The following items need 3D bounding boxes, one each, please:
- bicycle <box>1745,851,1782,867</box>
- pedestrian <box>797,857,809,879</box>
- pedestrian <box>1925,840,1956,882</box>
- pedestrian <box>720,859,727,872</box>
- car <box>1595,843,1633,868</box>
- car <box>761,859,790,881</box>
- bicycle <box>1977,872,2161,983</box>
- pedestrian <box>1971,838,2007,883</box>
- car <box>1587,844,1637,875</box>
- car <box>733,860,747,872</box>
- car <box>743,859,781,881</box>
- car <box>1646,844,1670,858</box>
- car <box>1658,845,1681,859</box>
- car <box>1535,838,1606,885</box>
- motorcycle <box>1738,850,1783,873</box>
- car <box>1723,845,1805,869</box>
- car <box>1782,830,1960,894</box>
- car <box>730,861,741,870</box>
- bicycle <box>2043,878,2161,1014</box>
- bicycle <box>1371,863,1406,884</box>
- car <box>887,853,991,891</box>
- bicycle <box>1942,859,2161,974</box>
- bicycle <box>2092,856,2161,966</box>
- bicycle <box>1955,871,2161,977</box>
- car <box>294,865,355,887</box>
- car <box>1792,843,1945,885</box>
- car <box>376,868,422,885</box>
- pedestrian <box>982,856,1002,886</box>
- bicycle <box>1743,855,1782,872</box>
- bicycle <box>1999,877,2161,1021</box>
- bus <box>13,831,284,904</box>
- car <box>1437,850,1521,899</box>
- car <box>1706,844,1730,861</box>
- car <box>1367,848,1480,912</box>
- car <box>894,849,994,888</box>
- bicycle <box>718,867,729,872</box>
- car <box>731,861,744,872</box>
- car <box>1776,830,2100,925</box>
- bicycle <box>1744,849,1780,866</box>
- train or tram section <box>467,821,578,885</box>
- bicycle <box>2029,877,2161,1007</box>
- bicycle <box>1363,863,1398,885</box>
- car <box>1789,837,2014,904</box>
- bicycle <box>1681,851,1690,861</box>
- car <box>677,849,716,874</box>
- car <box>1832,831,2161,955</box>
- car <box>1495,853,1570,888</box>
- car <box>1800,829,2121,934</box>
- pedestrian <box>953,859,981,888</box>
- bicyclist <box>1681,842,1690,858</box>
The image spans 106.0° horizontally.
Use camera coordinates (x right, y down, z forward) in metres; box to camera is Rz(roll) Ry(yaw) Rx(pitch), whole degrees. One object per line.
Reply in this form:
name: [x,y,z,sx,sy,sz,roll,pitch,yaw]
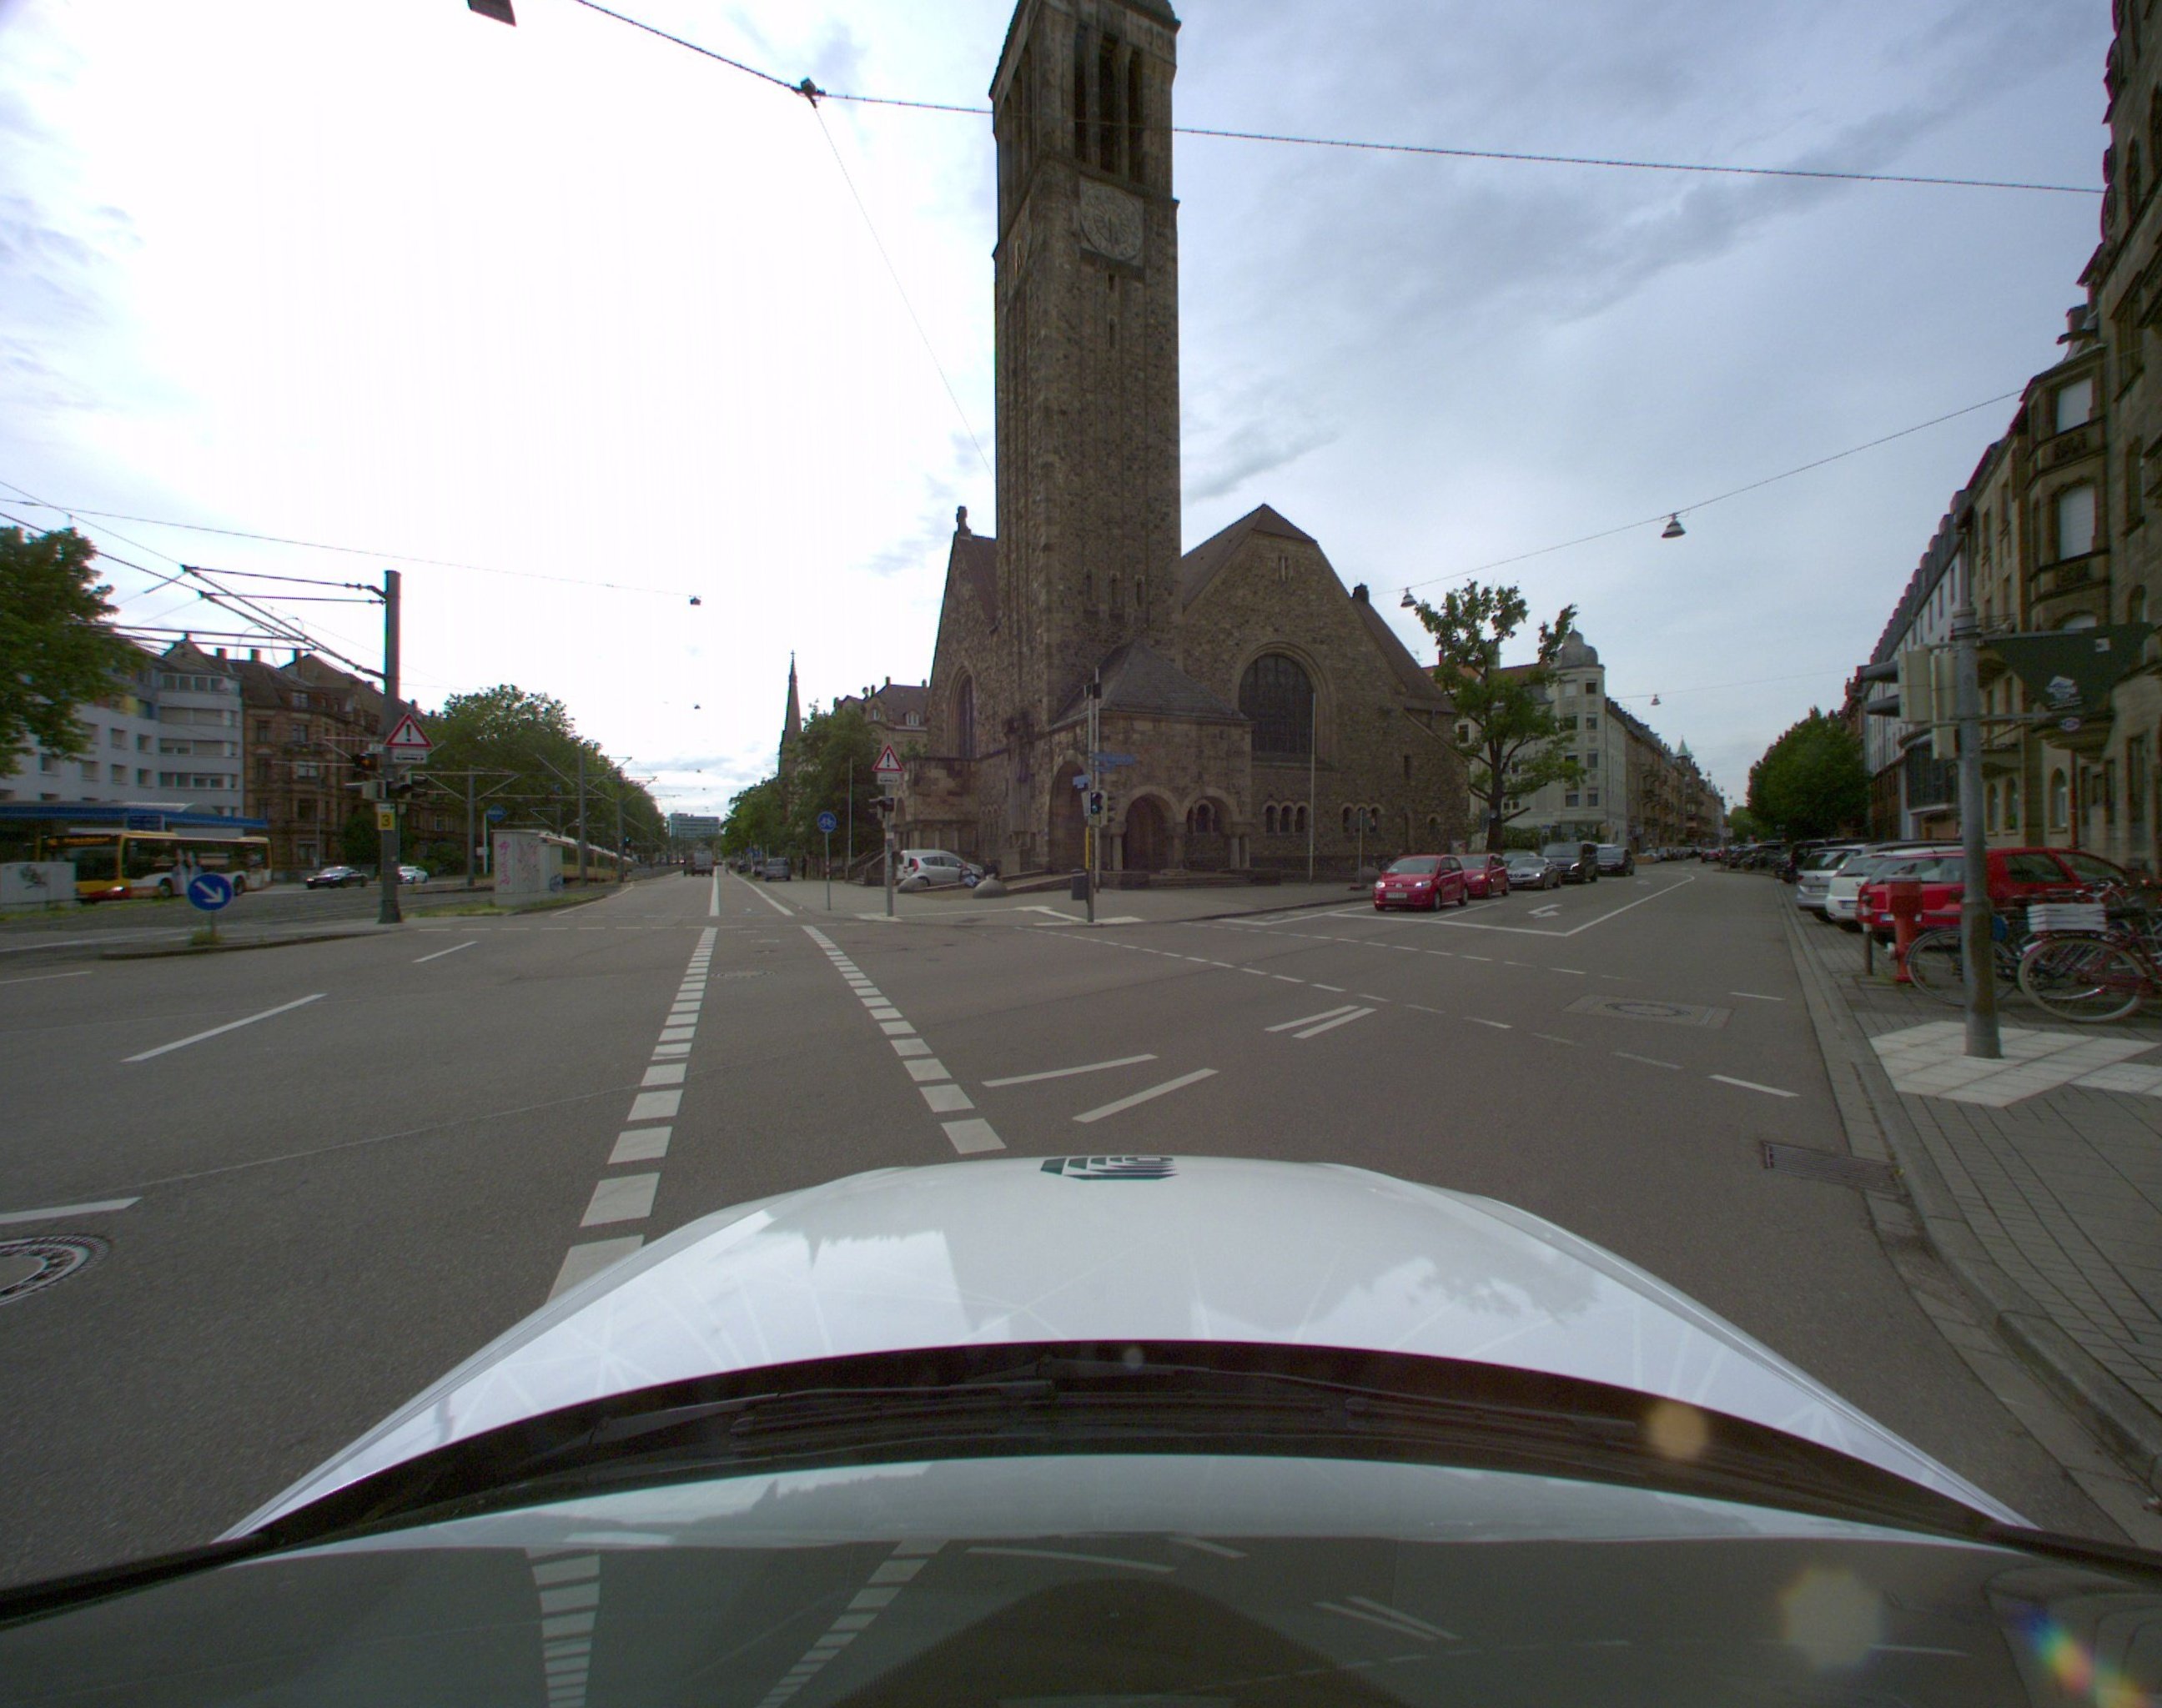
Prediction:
bicycle: [45.773,0.324,54.616,1.865,1.043,0.616,-2,-2,38]
pedestrian: [-20.204,1.012,59.112,0.778,1.647,0.793,1,-1,-18]
pedestrian: [31.927,0.265,30.257,0.559,1.529,0.553,1,-1,-2]
pedestrian: [-41.567,1.295,94.671,0.656,1.474,0.644,0,0,-34]
car: [41.824,0.090,63.853,1.826,1.939,4.575,0,1,42]
car: [-21.582,1.100,57.478,1.710,1.459,3.860,1,-1,-24]
bicycle: [10.146,0.712,7.983,1.716,1.039,0.479,-5,-4,40]
pedestrian: [31.787,0.227,28.518,0.637,1.529,0.581,1,-1,-2]
car: [30.637,0.281,46.911,1.827,1.684,4.576,0,1,41]
car: [-55.247,1.939,131.824,2.003,1.882,3.968,0,0,-24]
car: [-26.052,1.273,66.464,2.215,1.745,4.986,-1,0,-29]
car: [65.629,-0.345,92.619,1.926,1.617,3.967,1,0,41]
car: [70.579,-0.237,97.606,1.926,1.617,3.967,1,0,41]
car: [22.346,0.286,37.064,1.894,1.954,5.316,0,1,41]
motorcycle: [43.383,0.473,52.041,2.113,1.430,0.775,-2,-2,38]
car: [49.969,0.222,59.677,4.250,1.578,1.867,-2,-1,7]
car: [27.195,0.271,28.137,4.255,1.907,1.879,-3,-1,-1]
car: [-70.585,2.339,166.445,2.003,1.926,3.967,1,-1,-25]
bicycle: [9.355,0.758,6.817,1.552,1.127,0.479,-5,-4,40]
bicycle: [17.017,1.070,45.122,0.664,1.130,1.764,0,0,-36]
car: [-6.428,0.816,36.828,4.369,1.636,1.649,1,-1,-25]
bicycle: [10.739,0.690,9.013,1.552,1.172,0.479,-5,-4,40]
bicycle: [12.145,0.578,8.567,1.762,1.172,0.499,-5,-4,40]
bicycle: [10.499,0.724,8.539,1.716,1.039,0.479,-5,-4,40]
car: [-49.304,1.383,53.153,1.710,1.358,3.860,1,-1,-24]
car: [32.606,0.421,33.859,4.214,1.478,1.692,-4,-1,16]
car: [-53.357,1.740,63.802,1.710,1.221,3.860,1,-1,-24]
pedestrian: [-3.772,0.713,34.464,0.736,1.228,1.059,1,-1,-10]
bicycle: [44.717,0.621,53.489,1.910,1.043,0.616,-2,-2,38]
bicycle: [8.752,0.762,6.645,1.552,1.127,0.479,-5,-4,40]
bus: [-42.599,0.567,38.119,3.296,2.856,12.283,1,-1,-24]
car: [13.135,0.657,26.747,1.586,1.457,3.741,-3,-2,40]
car: [67.795,-0.129,86.638,1.974,1.681,4.025,0,-1,39]
car: [9.418,0.658,22.222,1.633,1.528,3.918,-3,-1,41]
car: [-6.799,0.721,40.424,4.632,1.881,1.649,1,-1,-25]
bicycle: [-41.498,1.792,94.519,0.615,0.655,2.355,1,-2,-35]
car: [-62.740,2.328,148.535,2.003,2.014,3.967,1,-1,-25]
car: [16.975,0.479,16.361,4.189,1.682,1.919,-2,-2,6]
bicycle: [47.122,0.256,56.363,1.865,1.141,0.616,-2,-2,38]
train or tram section: [-40.610,0.007,59.961,3.658,4.093,14.924,1,-1,-23]
bicycle: [9.689,0.769,7.218,1.552,1.127,0.479,-5,-4,40]
bicycle: [16.417,1.078,44.642,0.570,1.125,1.765,0,0,-36]
car: [23.381,0.477,23.348,4.434,1.552,1.853,-4,-1,2]
bicycle: [68.960,0.238,92.911,0.562,1.087,1.999,0,0,42]
car: [-41.154,0.797,87.096,2.531,2.607,5.762,1,-1,-38]
car: [13.543,0.520,11.802,3.816,1.561,1.791,-2,-1,-6]
car: [17.846,0.631,32.112,1.688,1.287,4.067,-3,-2,42]
car: [15.214,0.480,14.253,3.565,1.509,1.848,-3,-2,-1]
pedestrian: [-4.763,0.791,33.938,0.740,1.192,1.481,1,-1,-24]
bicyclist: [69.059,-0.463,92.993,0.775,1.866,0.719,0,0,42]
